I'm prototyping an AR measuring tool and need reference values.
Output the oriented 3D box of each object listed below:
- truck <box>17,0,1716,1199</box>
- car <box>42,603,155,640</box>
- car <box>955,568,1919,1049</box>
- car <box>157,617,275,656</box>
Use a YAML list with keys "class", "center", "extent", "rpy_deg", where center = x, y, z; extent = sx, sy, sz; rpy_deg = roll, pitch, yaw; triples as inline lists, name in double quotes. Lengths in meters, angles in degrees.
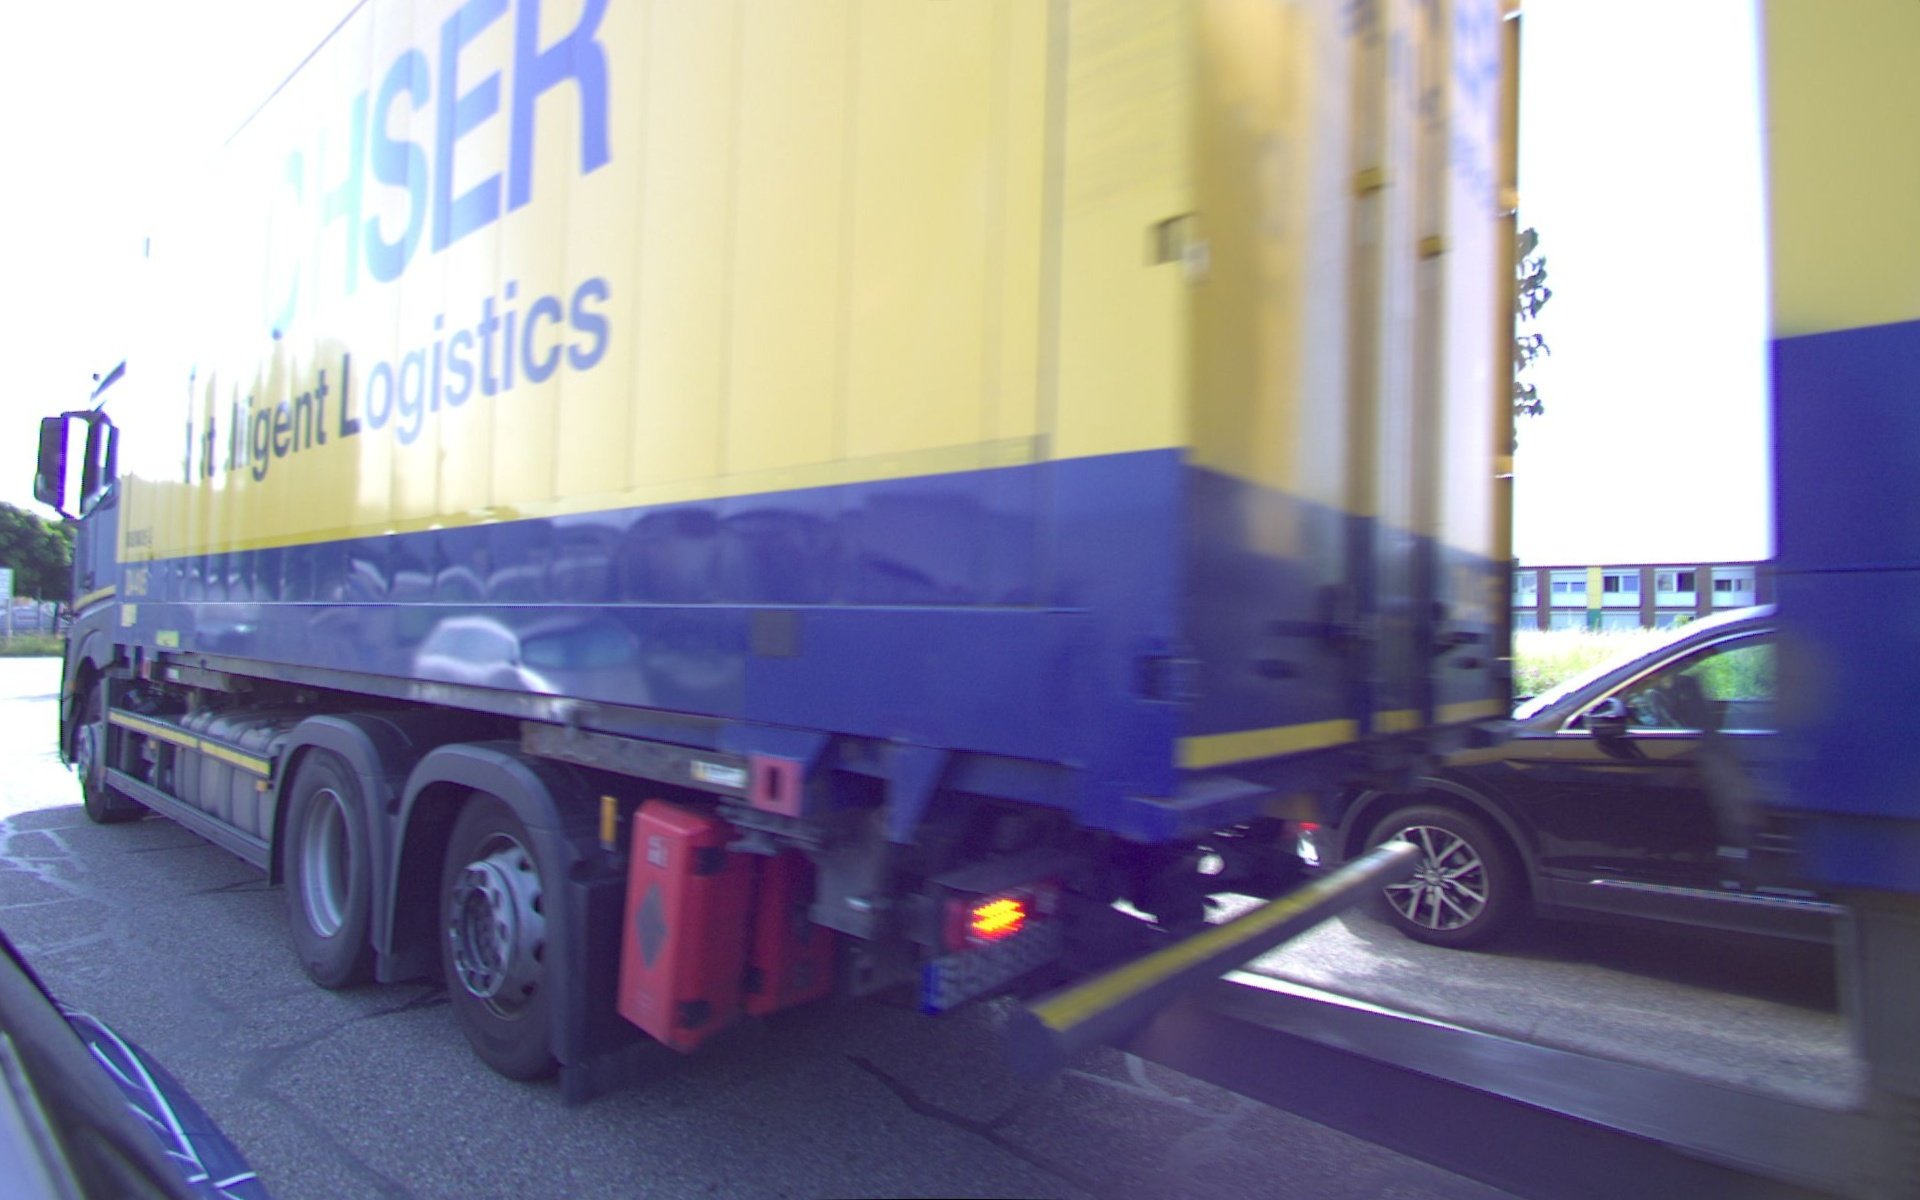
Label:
- class: "truck"
  center: [-2.536, -0.521, 5.433]
  extent: [10.373, 4.177, 2.472]
  rpy_deg: [-1, -4, 41]
- class: "car"
  center: [-64.746, 1.652, 76.176]
  extent: [2.212, 2.669, 6.185]
  rpy_deg: [-1, -3, 42]
- class: "car"
  center: [2.247, 0.745, 5.661]
  extent: [4.448, 1.638, 1.882]
  rpy_deg: [-1, -1, 42]
- class: "car"
  center: [-32.951, 1.581, 45.043]
  extent: [1.857, 1.586, 5.125]
  rpy_deg: [2, -1, -6]
